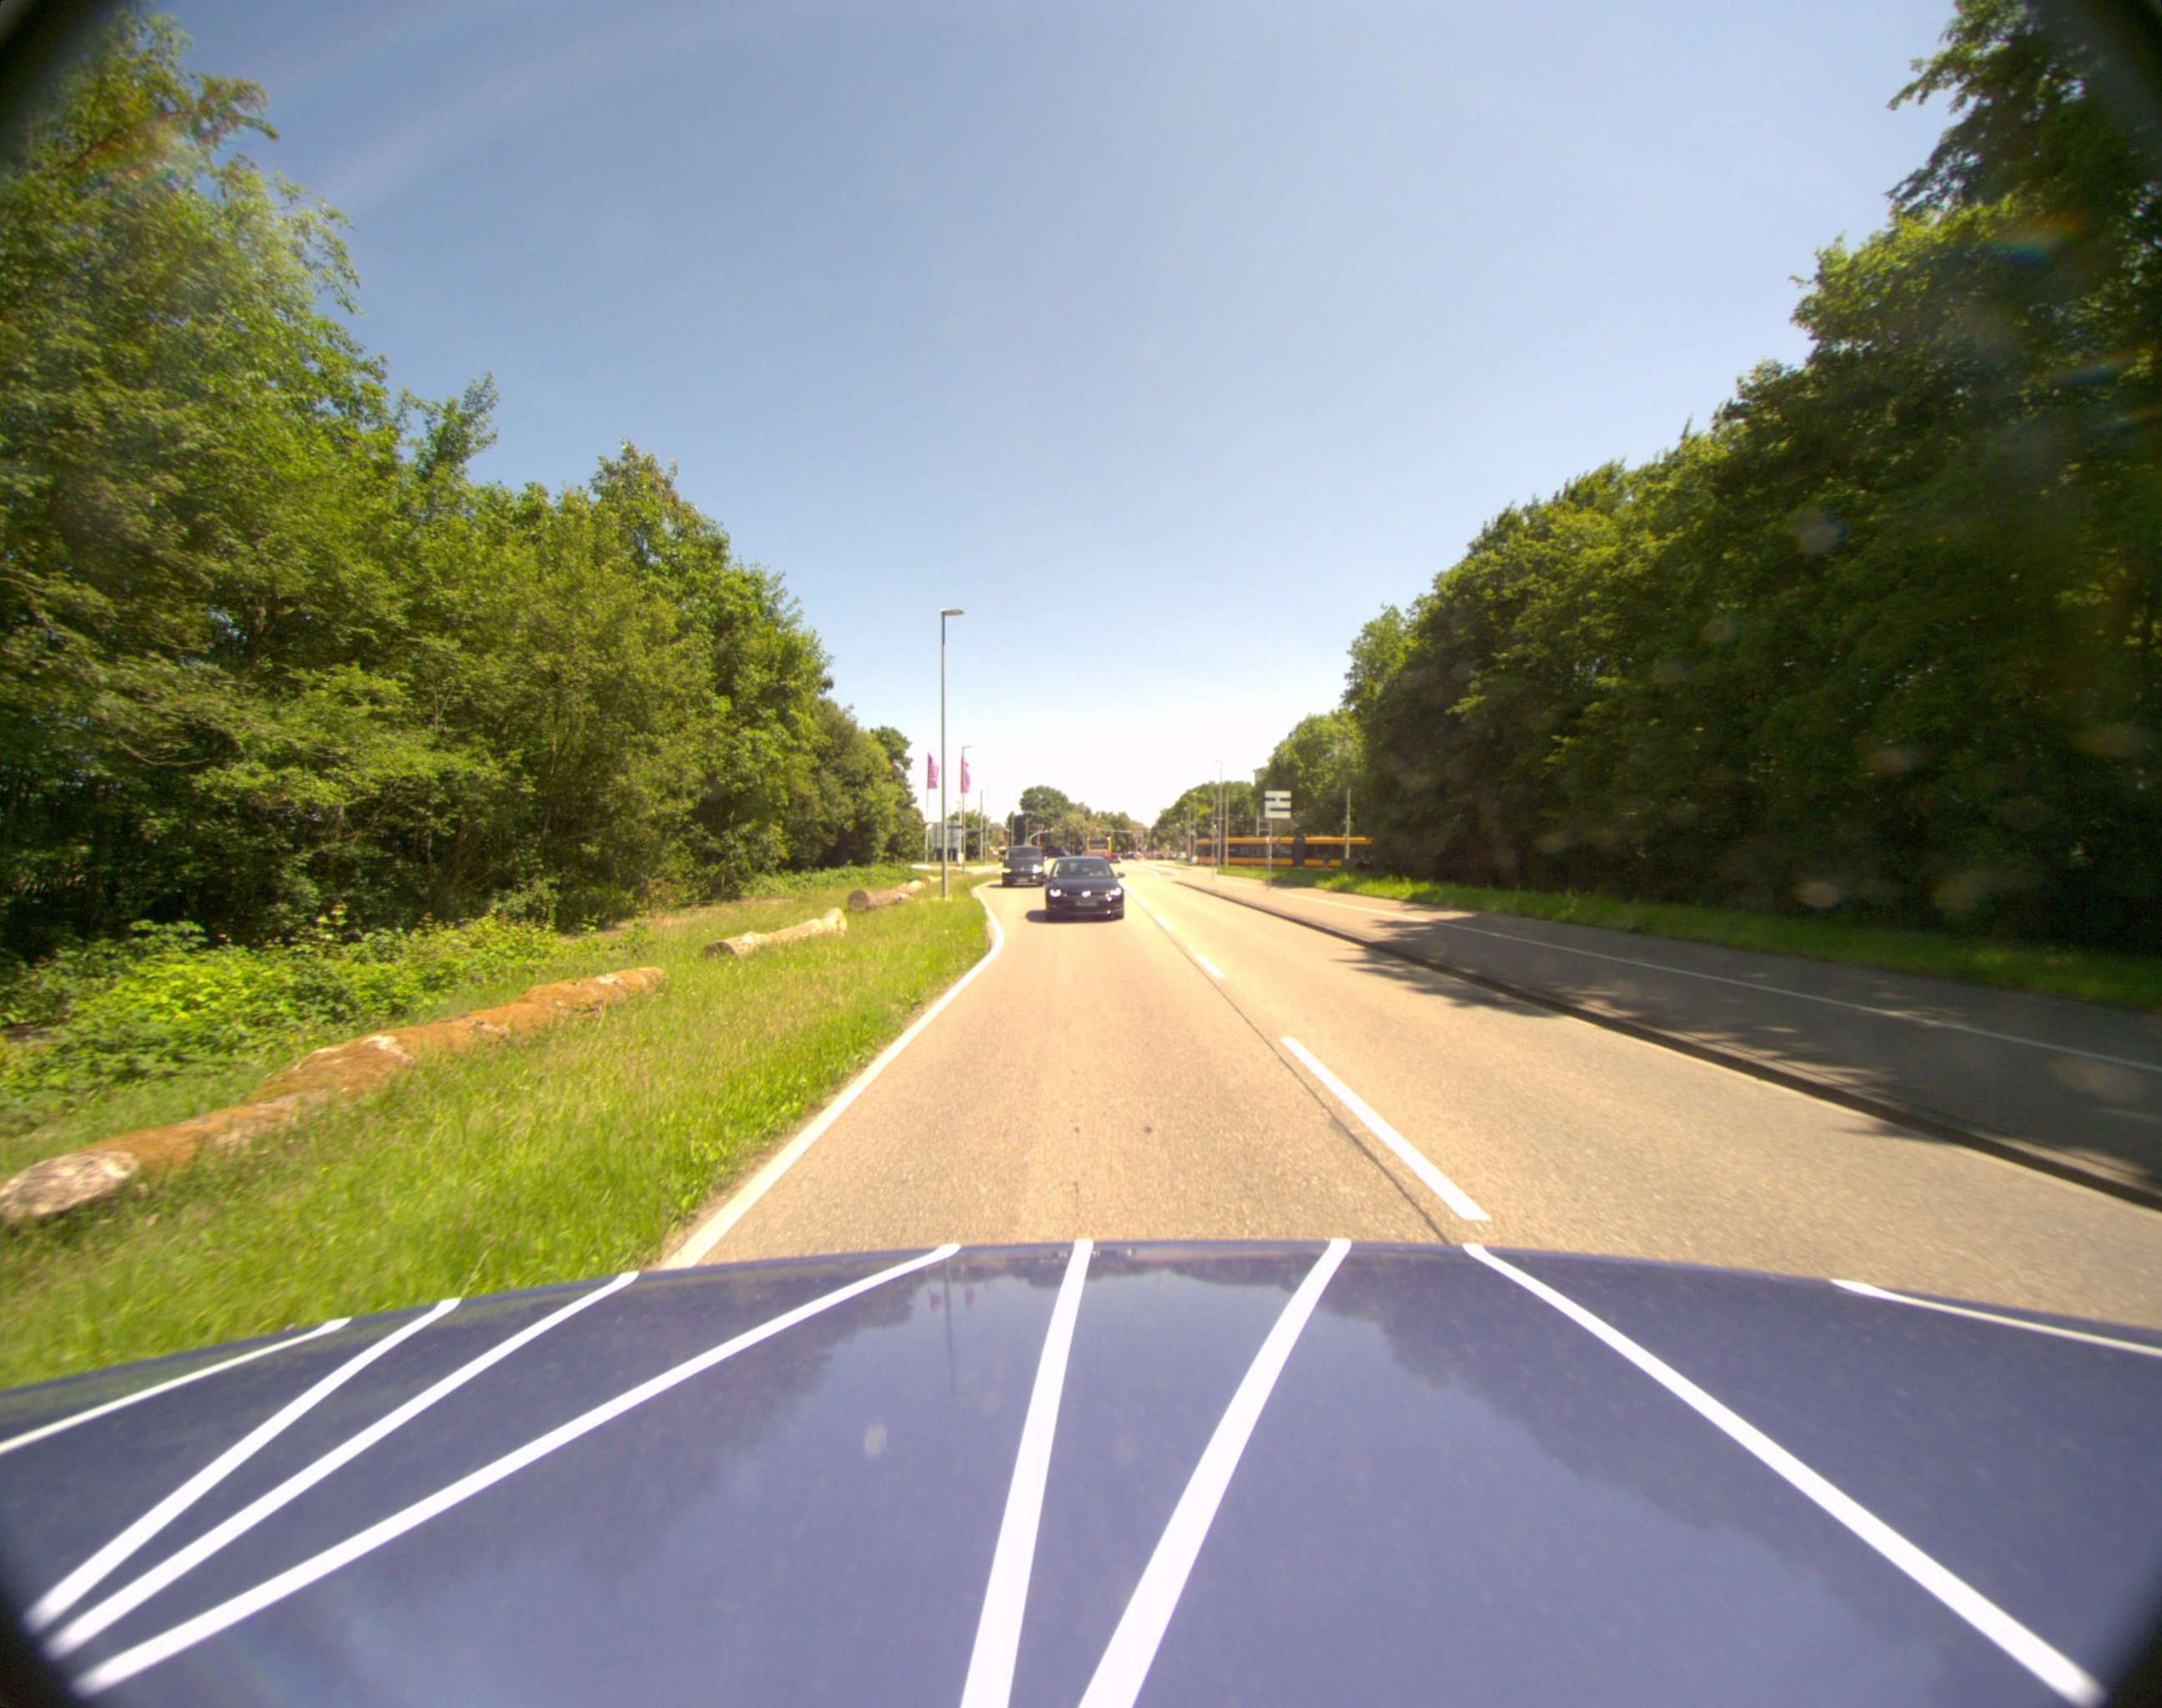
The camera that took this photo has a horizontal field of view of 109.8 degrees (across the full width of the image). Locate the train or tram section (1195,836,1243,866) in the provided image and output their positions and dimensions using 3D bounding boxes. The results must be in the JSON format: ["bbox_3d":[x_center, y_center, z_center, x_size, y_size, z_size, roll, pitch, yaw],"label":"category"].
[{"bbox_3d":[16.302,-0.383,90.684,2.579,3.446,10.846,0,0,-7],"label":"train or tram section"}]

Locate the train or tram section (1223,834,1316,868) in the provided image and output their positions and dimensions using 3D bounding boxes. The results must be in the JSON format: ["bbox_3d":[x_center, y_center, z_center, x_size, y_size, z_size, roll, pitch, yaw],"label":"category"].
[{"bbox_3d":[19.839,-0.314,80.924,2.656,3.446,10.827,-1,1,-32],"label":"train or tram section"}]

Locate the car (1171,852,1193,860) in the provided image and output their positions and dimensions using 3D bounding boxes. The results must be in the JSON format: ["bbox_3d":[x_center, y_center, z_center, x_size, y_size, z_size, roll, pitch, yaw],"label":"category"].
[{"bbox_3d":[19.721,0.410,148.363,3.800,1.383,1.634,0,1,25],"label":"car"}]

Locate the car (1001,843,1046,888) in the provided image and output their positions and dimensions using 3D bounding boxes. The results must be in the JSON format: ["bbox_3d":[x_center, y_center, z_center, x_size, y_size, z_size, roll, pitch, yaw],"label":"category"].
[{"bbox_3d":[-2.651,0.492,35.965,2.002,1.965,4.448,-1,1,-3],"label":"car"}]

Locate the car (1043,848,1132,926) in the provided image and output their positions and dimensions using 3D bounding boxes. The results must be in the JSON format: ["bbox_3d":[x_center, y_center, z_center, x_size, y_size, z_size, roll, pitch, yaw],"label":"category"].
[{"bbox_3d":[0.056,0.686,18.597,1.887,1.668,4.661,-1,1,-2],"label":"car"}]

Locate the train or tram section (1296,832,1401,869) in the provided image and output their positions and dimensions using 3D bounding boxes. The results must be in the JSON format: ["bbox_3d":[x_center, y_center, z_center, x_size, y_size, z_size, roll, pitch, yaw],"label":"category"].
[{"bbox_3d":[26.102,-0.331,74.371,9.326,3.446,2.788,0,1,33],"label":"train or tram section"}]

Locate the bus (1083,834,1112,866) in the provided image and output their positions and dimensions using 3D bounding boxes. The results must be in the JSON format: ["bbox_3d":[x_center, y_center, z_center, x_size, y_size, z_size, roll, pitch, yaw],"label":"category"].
[{"bbox_3d":[1.737,-0.459,83.875,2.931,3.248,8.327,-1,1,-1],"label":"bus"}]
